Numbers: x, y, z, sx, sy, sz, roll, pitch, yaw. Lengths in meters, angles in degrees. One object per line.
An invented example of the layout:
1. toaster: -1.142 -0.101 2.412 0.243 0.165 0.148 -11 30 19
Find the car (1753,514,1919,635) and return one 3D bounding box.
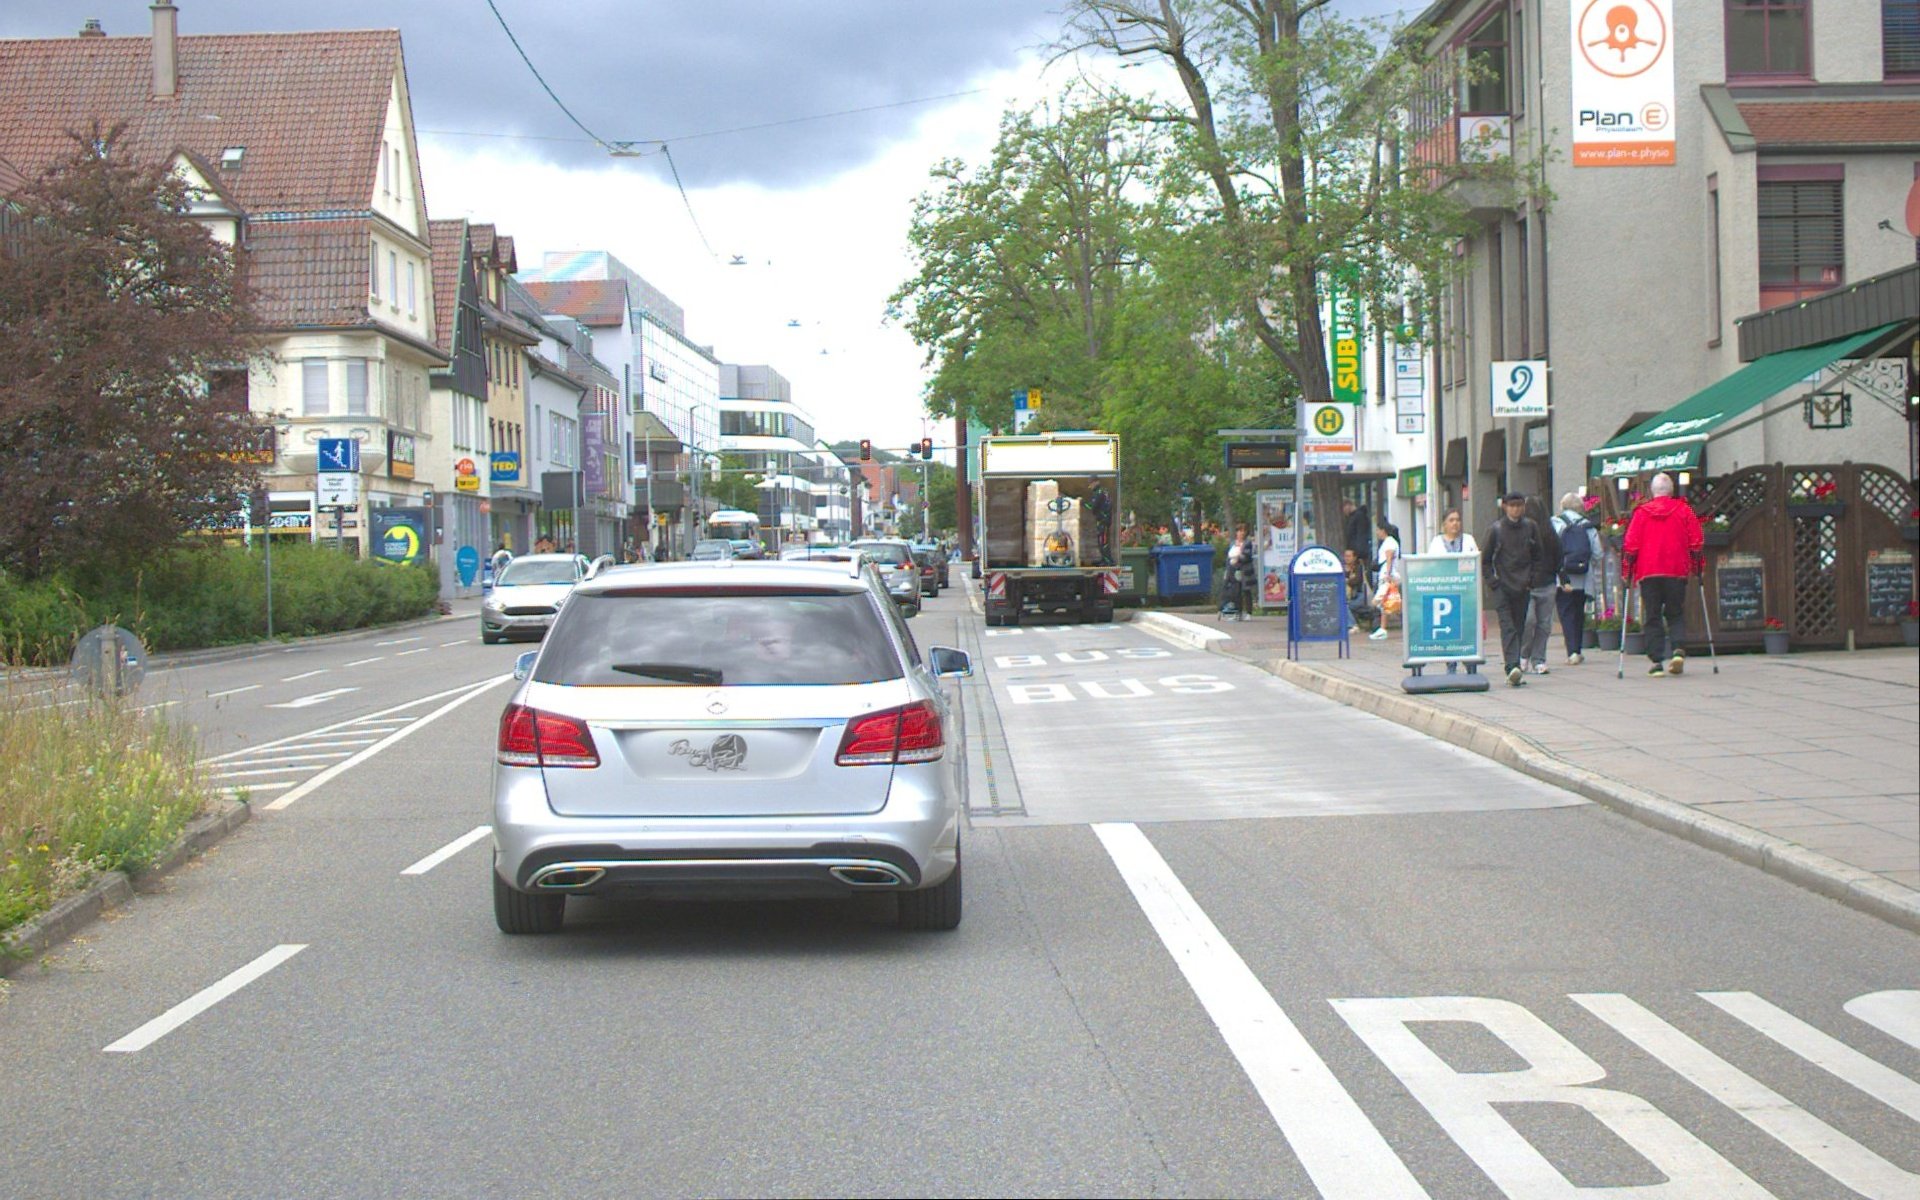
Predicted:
1. car: 13.314 -0.357 46.910 4.605 1.614 1.880 0 1 4

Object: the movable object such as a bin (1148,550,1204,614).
1. movable object such as a bin: 4.645 -0.392 74.024 1.143 1.335 1.376 -1 1 2

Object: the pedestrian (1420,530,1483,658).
1. pedestrian: 6.120 -0.084 42.822 0.673 1.562 0.491 1 3 20

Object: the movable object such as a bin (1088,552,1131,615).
1. movable object such as a bin: 3.223 -0.359 74.241 0.881 1.335 1.085 -1 1 2

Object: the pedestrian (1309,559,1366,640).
1. pedestrian: 5.520 -0.014 50.322 0.711 1.162 0.588 0 2 -7

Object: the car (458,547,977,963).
1. car: -0.947 0.535 14.484 1.874 1.501 4.000 0 1 -2

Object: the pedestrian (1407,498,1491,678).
1. pedestrian: 4.522 -0.111 31.830 0.612 1.629 0.615 -2 0 -3

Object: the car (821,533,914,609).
1. car: -2.118 -0.693 79.750 1.993 1.678 4.000 -1 1 0

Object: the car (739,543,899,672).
1. car: -1.895 0.066 47.270 1.993 1.678 4.000 -1 1 0

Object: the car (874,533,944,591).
1. car: -1.520 -1.144 103.059 1.993 1.678 4.000 -1 1 0

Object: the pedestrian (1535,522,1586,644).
1. pedestrian: 8.118 -0.232 46.508 0.586 1.629 0.615 -1 1 1

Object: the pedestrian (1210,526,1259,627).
1. pedestrian: 4.509 -0.393 56.472 0.534 1.629 0.588 2 1 -24

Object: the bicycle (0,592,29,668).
1. bicycle: -14.471 0.443 49.415 2.017 1.086 0.649 -1 1 -9

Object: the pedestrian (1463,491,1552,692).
1. pedestrian: 4.666 -0.080 29.319 0.612 1.672 0.615 2 1 2

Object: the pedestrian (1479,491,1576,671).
1. pedestrian: 5.226 -0.175 31.686 0.718 1.629 0.615 -2 0 -3

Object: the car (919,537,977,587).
1. car: -0.400 -1.344 119.884 1.993 1.678 4.000 -1 1 0

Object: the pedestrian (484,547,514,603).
1. pedestrian: -13.555 -0.746 101.115 0.816 1.629 0.980 1 1 -5

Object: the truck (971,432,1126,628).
1. truck: 1.634 -1.373 67.739 2.688 3.549 9.767 -1 1 0

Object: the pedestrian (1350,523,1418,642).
1. pedestrian: 5.885 -0.252 47.724 0.613 1.629 0.794 -1 2 -22

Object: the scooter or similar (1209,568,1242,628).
1. scooter or similar: 4.327 -0.036 56.035 0.384 0.955 0.355 -2 1 -41

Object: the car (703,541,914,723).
1. car: -1.323 0.296 31.429 1.754 1.516 4.000 -1 -1 -1

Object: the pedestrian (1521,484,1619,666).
1. pedestrian: 5.995 -0.241 33.827 0.682 1.736 0.782 -3 -1 -5

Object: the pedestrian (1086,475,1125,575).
1. pedestrian: 2.628 -1.354 62.039 0.613 1.774 0.588 -1 0 -3

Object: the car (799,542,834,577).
1. car: -6.540 -1.856 156.630 1.570 1.535 2.961 1 1 -3

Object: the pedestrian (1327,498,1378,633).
1. pedestrian: 6.031 -0.527 52.818 0.613 2.040 0.587 -3 0 13

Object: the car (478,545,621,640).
1. car: -6.986 -0.146 58.877 1.874 1.501 4.344 -2 0 0

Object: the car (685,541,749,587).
1. car: -9.918 -1.470 140.442 2.069 1.732 4.693 -3 1 2

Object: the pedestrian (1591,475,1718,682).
1. pedestrian: 6.010 -0.179 29.778 0.795 1.736 0.782 -3 -1 -6
